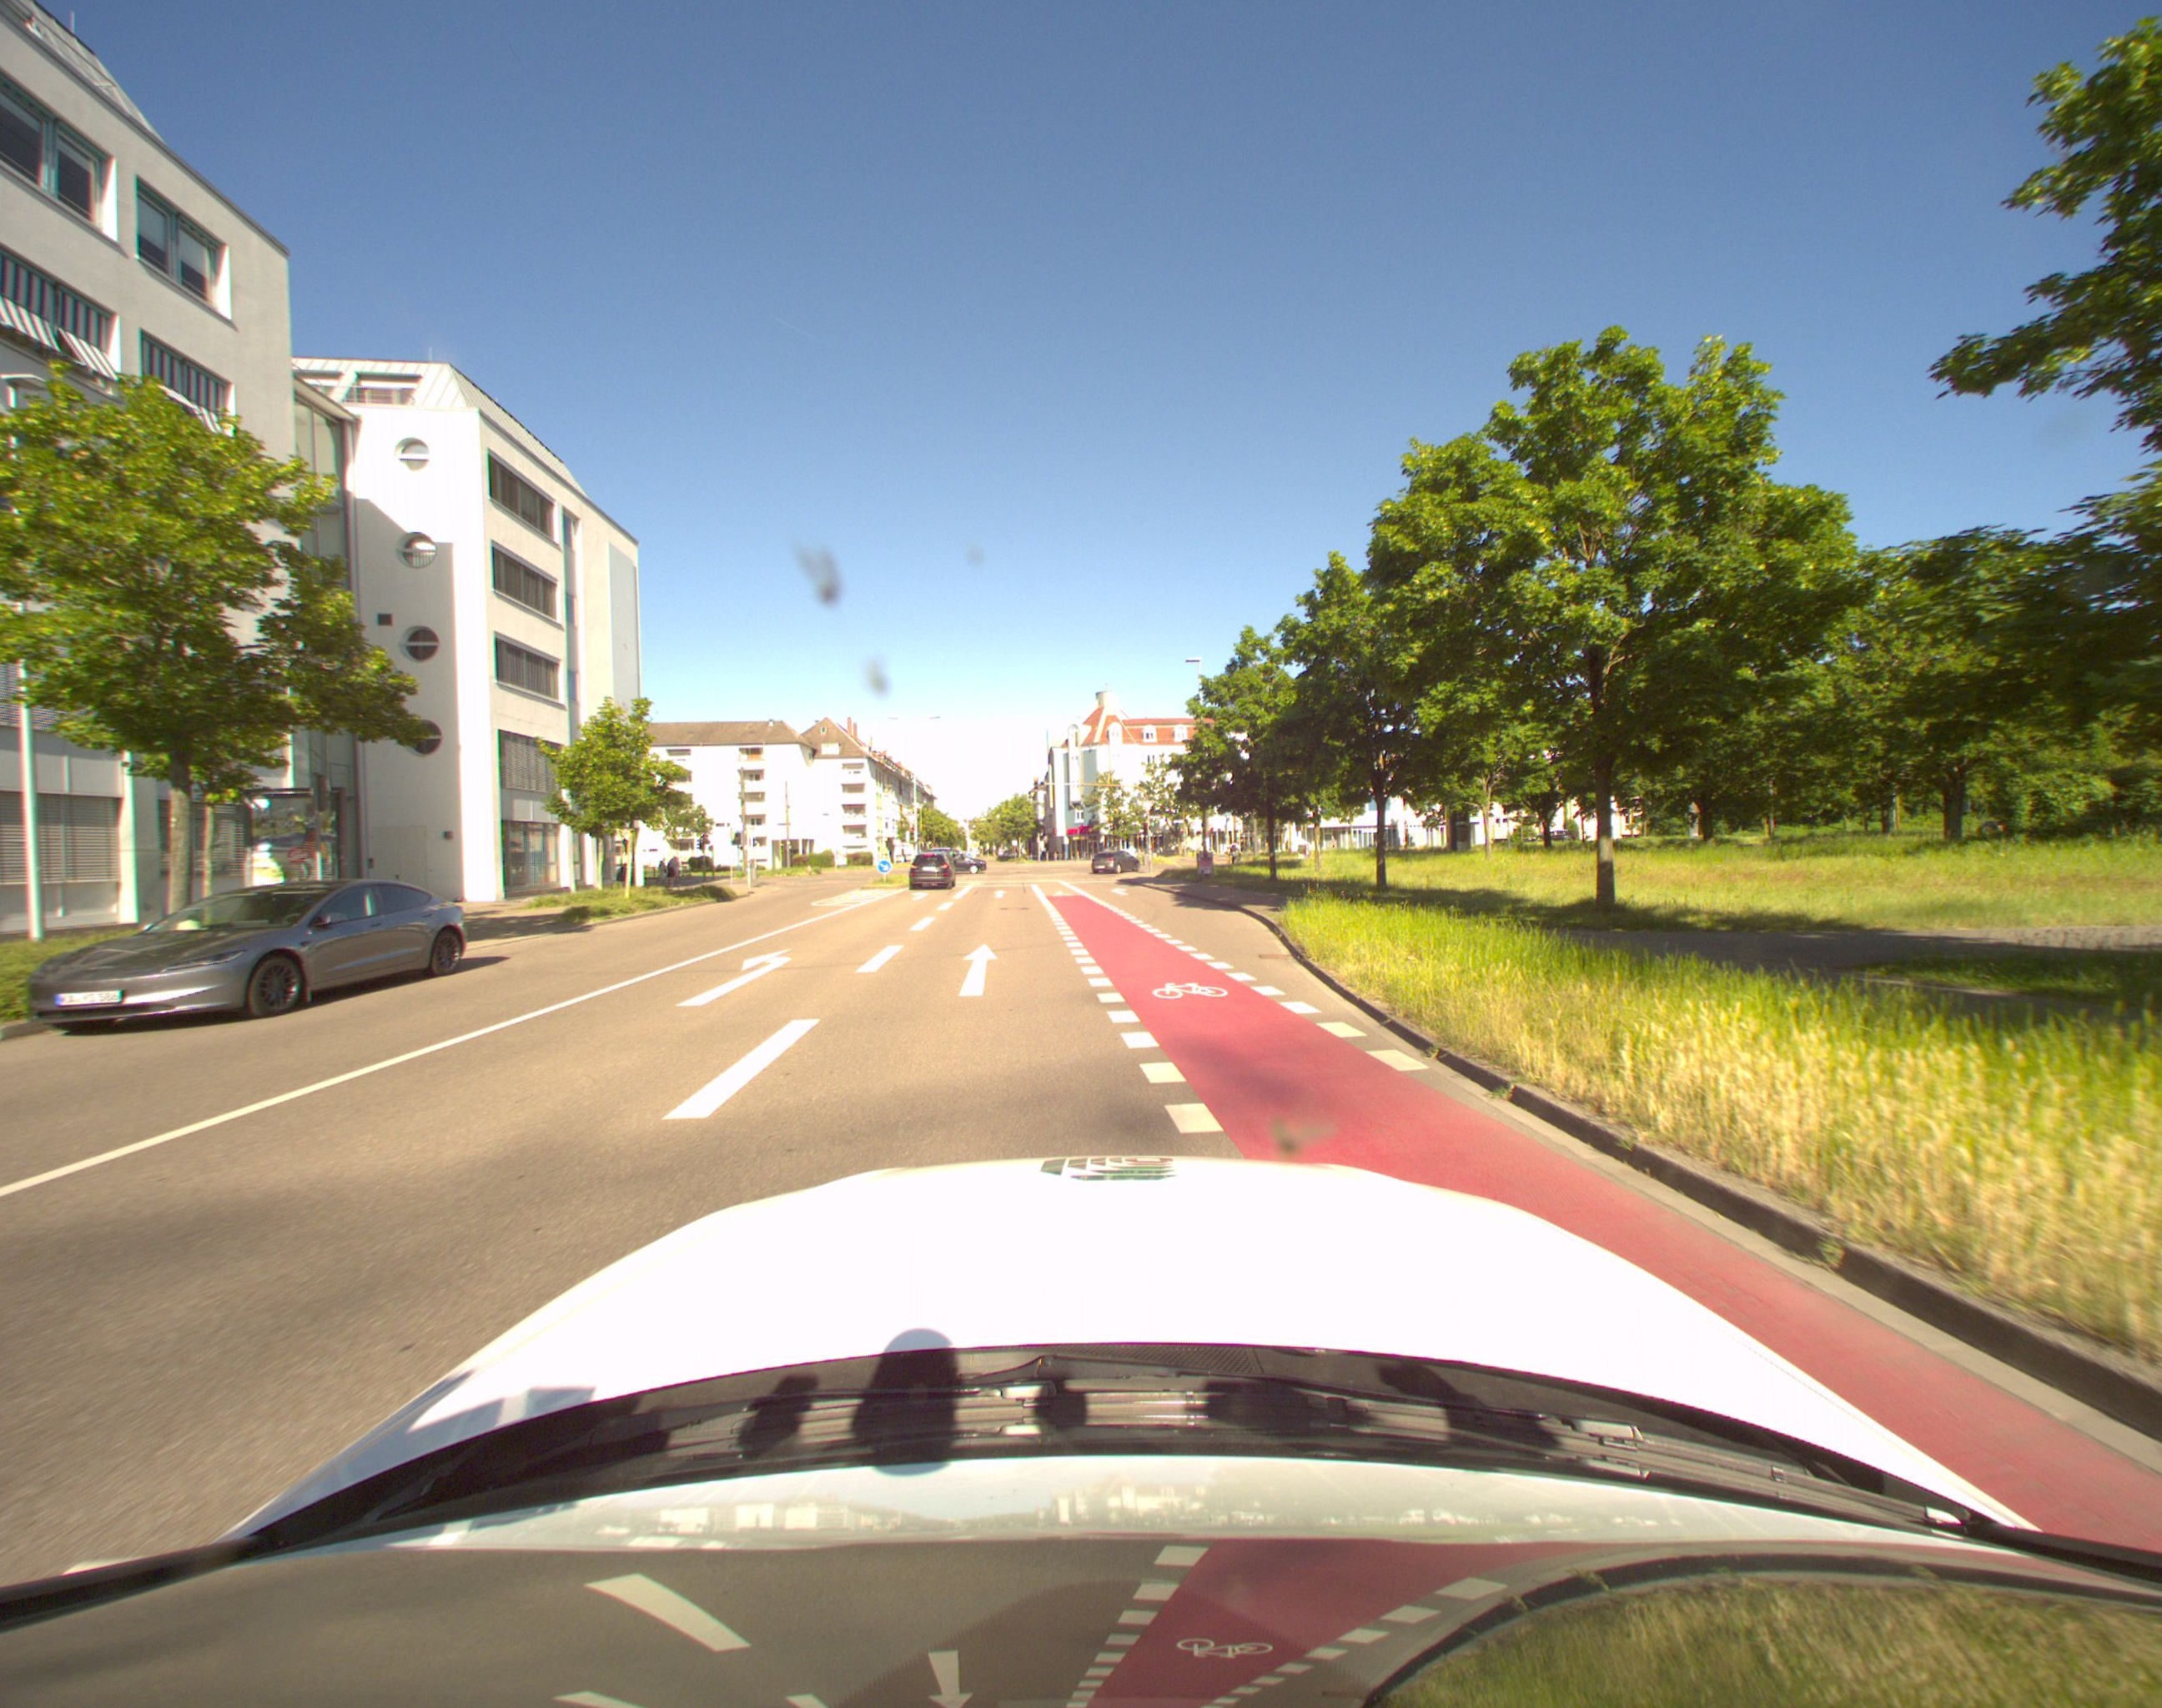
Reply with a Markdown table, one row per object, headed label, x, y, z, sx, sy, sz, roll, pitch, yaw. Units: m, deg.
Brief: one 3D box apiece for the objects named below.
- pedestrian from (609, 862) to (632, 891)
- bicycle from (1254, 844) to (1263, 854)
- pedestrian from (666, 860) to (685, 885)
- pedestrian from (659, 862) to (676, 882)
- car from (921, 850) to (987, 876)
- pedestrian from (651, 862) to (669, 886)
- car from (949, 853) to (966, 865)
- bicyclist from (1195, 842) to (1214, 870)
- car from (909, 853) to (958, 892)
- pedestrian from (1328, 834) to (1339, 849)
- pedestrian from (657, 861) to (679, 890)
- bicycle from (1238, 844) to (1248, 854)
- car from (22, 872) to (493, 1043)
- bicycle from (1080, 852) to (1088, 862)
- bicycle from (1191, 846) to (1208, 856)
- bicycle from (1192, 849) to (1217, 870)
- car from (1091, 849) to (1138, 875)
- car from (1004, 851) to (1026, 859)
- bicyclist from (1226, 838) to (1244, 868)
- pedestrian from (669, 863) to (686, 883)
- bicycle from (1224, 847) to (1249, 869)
| label | x | y | z | sx | sy | sz | roll | pitch | yaw |
| --- | --- | --- | --- | --- | --- | --- | --- | --- | --- |
| pedestrian | -27.853 | 1.359 | 49.291 | 0.811 | 1.726 | 1.150 | -2 | 0 | -10 |
| bicycle | 21.515 | -0.596 | 98.689 | 0.559 | 1.182 | 1.867 | -2 | 0 | -4 |
| pedestrian | -30.276 | 1.389 | 60.807 | 0.921 | 1.770 | 1.150 | -2 | 0 | -10 |
| pedestrian | -35.894 | 1.565 | 70.730 | 1.139 | 1.726 | 0.818 | -2 | 0 | 36 |
| car | -8.970 | 0.651 | 57.669 | 4.481 | 1.800 | 1.759 | 0 | 0 | -9 |
| pedestrian | -31.793 | 1.528 | 61.514 | 0.811 | 1.726 | 1.150 | -2 | 0 | -10 |
| car | -15.442 | 0.605 | 102.139 | 1.684 | 1.432 | 4.395 | 0 | 0 | -3 |
| bicyclist | 8.117 | 0.113 | 53.641 | 0.782 | 1.824 | 1.143 | -2 | 0 | 32 |
| car | -6.583 | 0.777 | 36.687 | 1.751 | 1.628 | 4.470 | 0 | 0 | -5 |
| pedestrian | 30.265 | -1.475 | 97.725 | 0.988 | 1.723 | 0.652 | -2 | 0 | -7 |
| pedestrian | -25.283 | 1.313 | 49.843 | 0.811 | 1.726 | 1.150 | -2 | 0 | -10 |
| bicycle | 19.645 | -0.558 | 98.667 | 0.560 | 1.182 | 1.865 | -2 | 0 | -7 |
| car | -9.612 | 1.043 | 10.187 | 1.687 | 1.468 | 4.534 | -3 | 0 | -8 |
| bicycle | 0.326 | 0.298 | 88.955 | 0.472 | 1.027 | 1.508 | -2 | 0 | -16 |
| bicycle | 14.073 | -0.333 | 96.848 | 1.864 | 1.182 | 0.560 | -2 | 0 | -10 |
| bicycle | 8.150 | 0.353 | 53.699 | 0.782 | 1.347 | 2.092 | -2 | 0 | 32 |
| car | 2.203 | 0.517 | 52.264 | 1.673 | 1.577 | 3.893 | 0 | 0 | 24 |
| car | -11.418 | 0.150 | 140.915 | 3.577 | 1.223 | 1.720 | -1 | -1 | -18 |
| bicyclist | 10.144 | -0.060 | 53.529 | 0.782 | 1.959 | 1.017 | -2 | 0 | 32 |
| pedestrian | -35.413 | 1.663 | 71.413 | 1.139 | 1.726 | 0.818 | -2 | 0 | 36 |
| bicycle | 10.296 | 0.244 | 53.748 | 0.782 | 1.347 | 2.277 | -2 | 0 | 32 |
